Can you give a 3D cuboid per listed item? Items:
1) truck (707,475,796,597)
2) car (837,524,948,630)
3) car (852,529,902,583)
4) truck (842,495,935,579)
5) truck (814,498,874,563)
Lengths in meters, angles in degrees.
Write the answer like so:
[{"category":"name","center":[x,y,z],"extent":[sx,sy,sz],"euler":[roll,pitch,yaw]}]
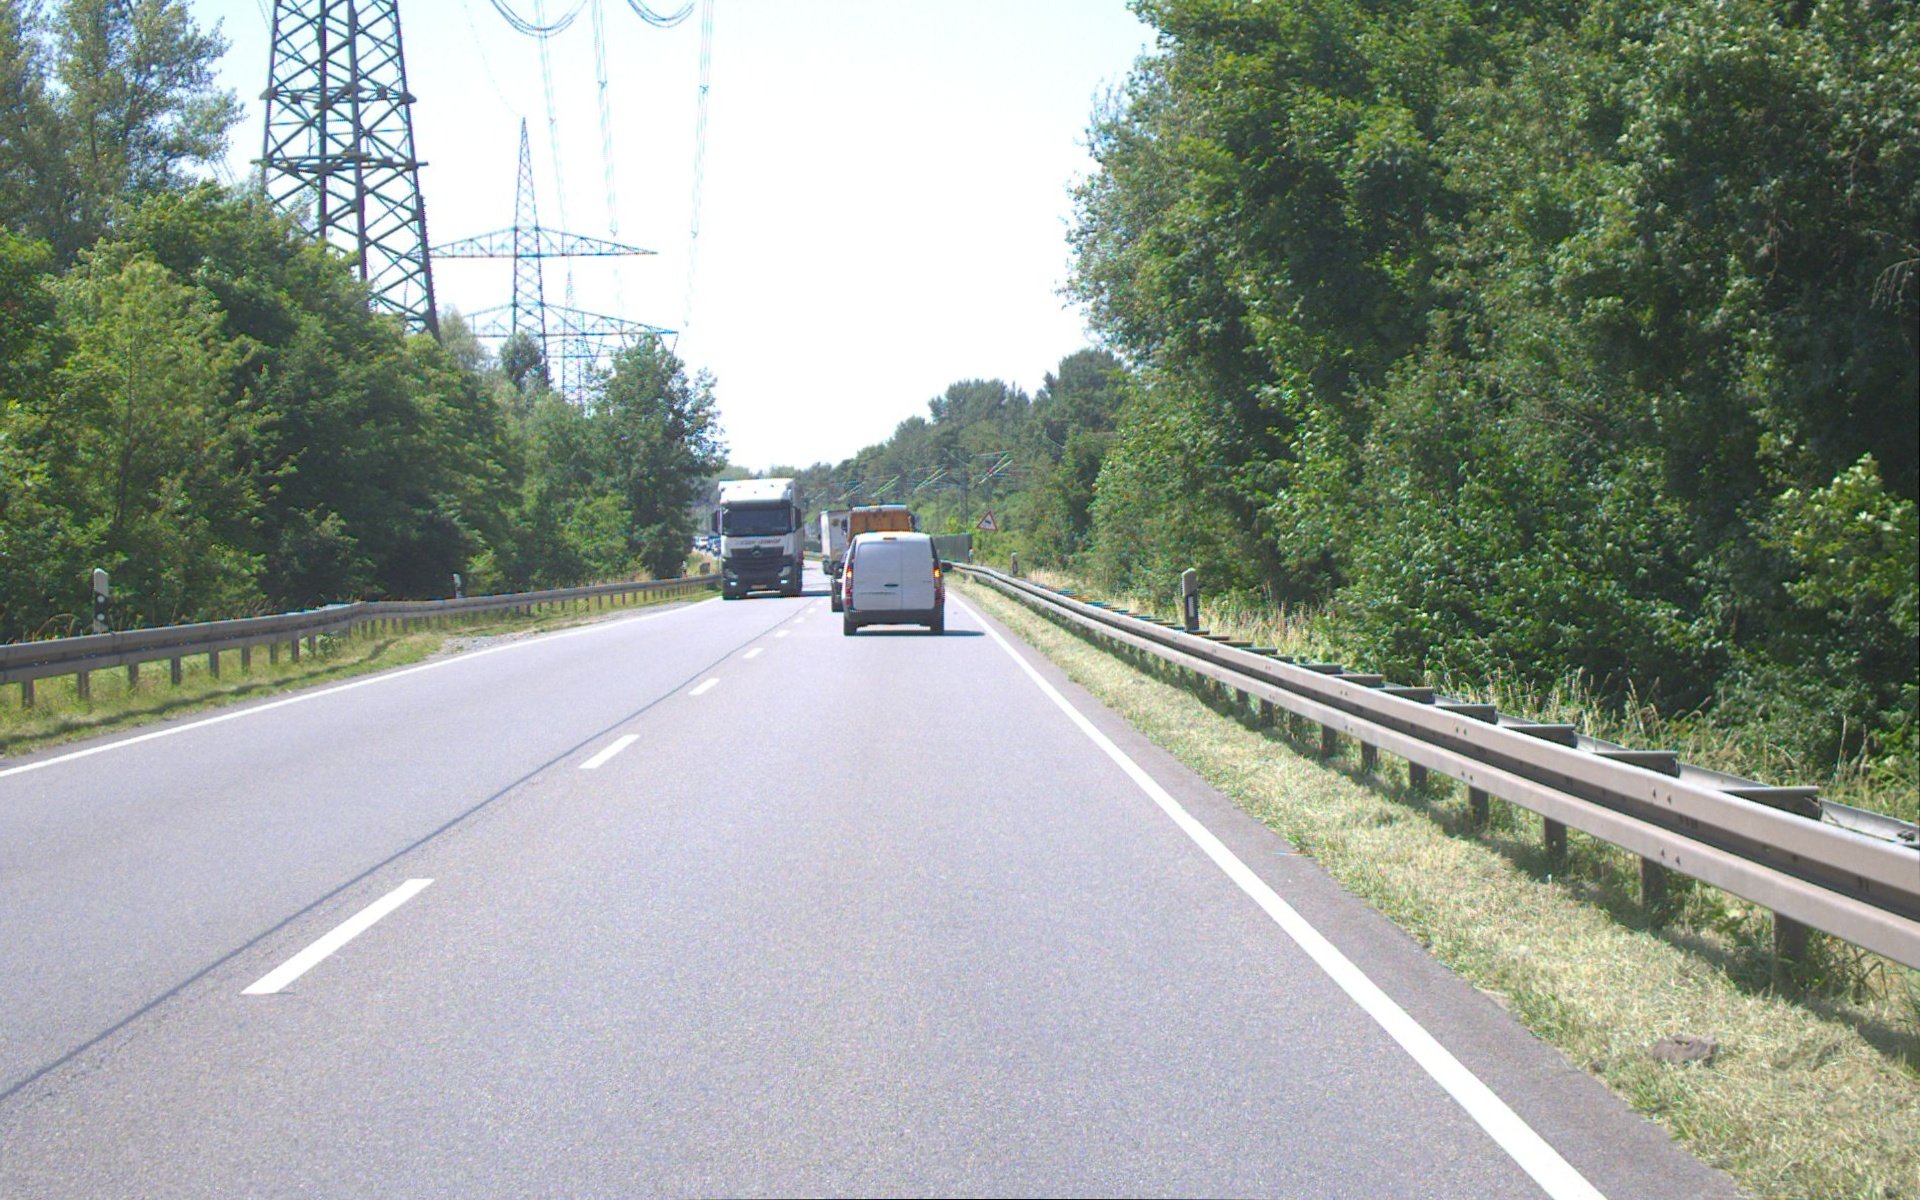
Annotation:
[{"category":"truck","center":[-7.028,-2.158,116.551],"extent":[2.763,3.985,5.907],"euler":[1,1,-1]},{"category":"car","center":[-1.197,-0.441,60.599],"extent":[1.875,1.735,4.001],"euler":[1,2,-1]},{"category":"car","center":[-3.174,-1.663,130.290],"extent":[1.763,2.007,4.001],"euler":[0,1,-3]},{"category":"truck","center":[-3.059,-2.682,141.825],"extent":[3.296,3.161,14.407],"euler":[0,2,-3]},{"category":"truck","center":[-7.464,-4.515,218.716],"extent":[3.402,3.841,16.821],"euler":[0,2,-3]}]
